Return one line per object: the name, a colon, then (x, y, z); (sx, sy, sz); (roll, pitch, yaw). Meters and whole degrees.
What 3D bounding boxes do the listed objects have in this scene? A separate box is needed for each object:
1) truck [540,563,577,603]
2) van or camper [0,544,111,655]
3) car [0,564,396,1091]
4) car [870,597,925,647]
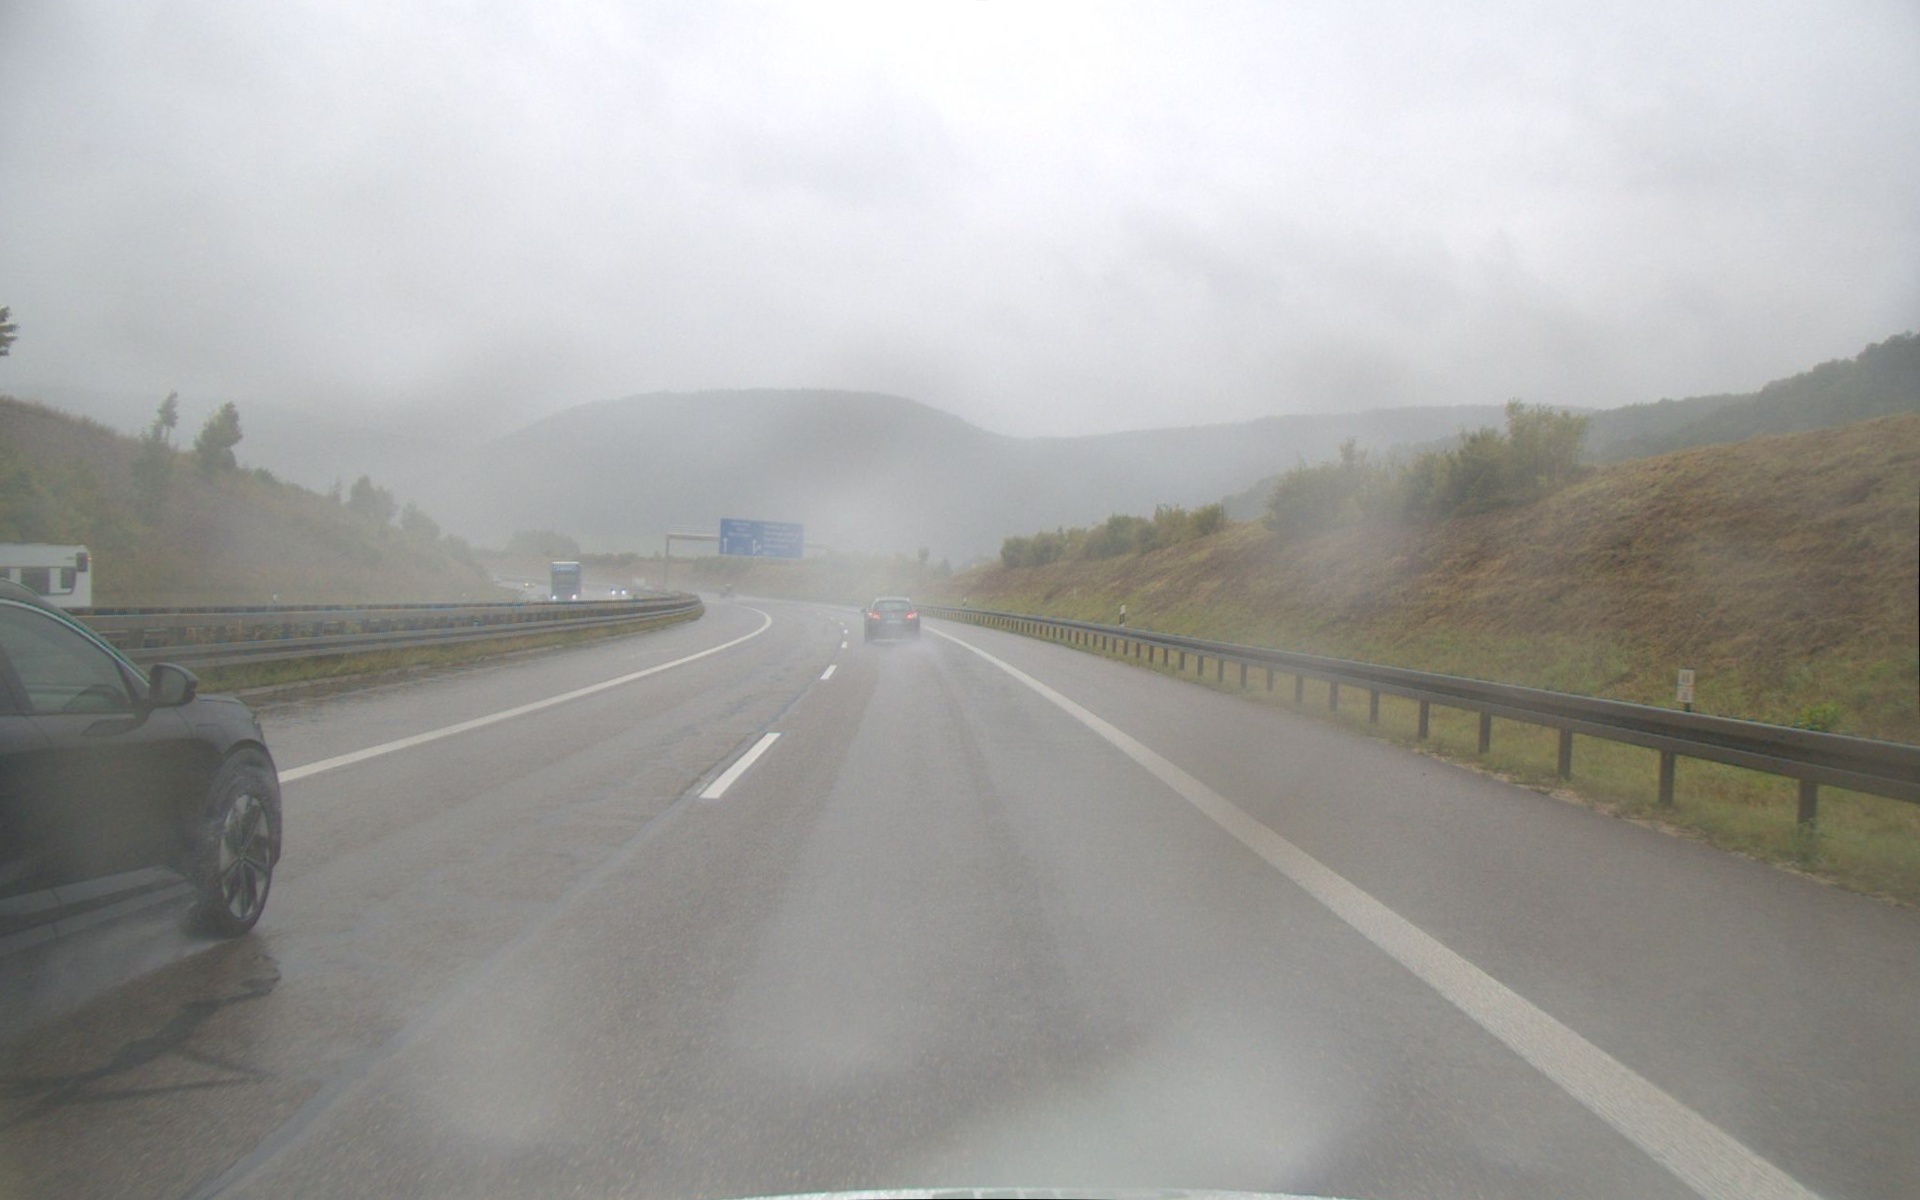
truck: (-38.463, -1.618, 158.614); (2.727, 3.748, 6.197); (0, 0, -7)
van or camper: (-23.745, -0.032, 40.615); (2.297, 2.609, 7.202); (0, 0, -2)
car: (-3.975, 0.644, 5.738); (2.357, 1.542, 4.784); (1, 0, 0)
car: (-1.965, 0.680, 52.520); (1.645, 1.498, 3.813); (1, 0, -1)
